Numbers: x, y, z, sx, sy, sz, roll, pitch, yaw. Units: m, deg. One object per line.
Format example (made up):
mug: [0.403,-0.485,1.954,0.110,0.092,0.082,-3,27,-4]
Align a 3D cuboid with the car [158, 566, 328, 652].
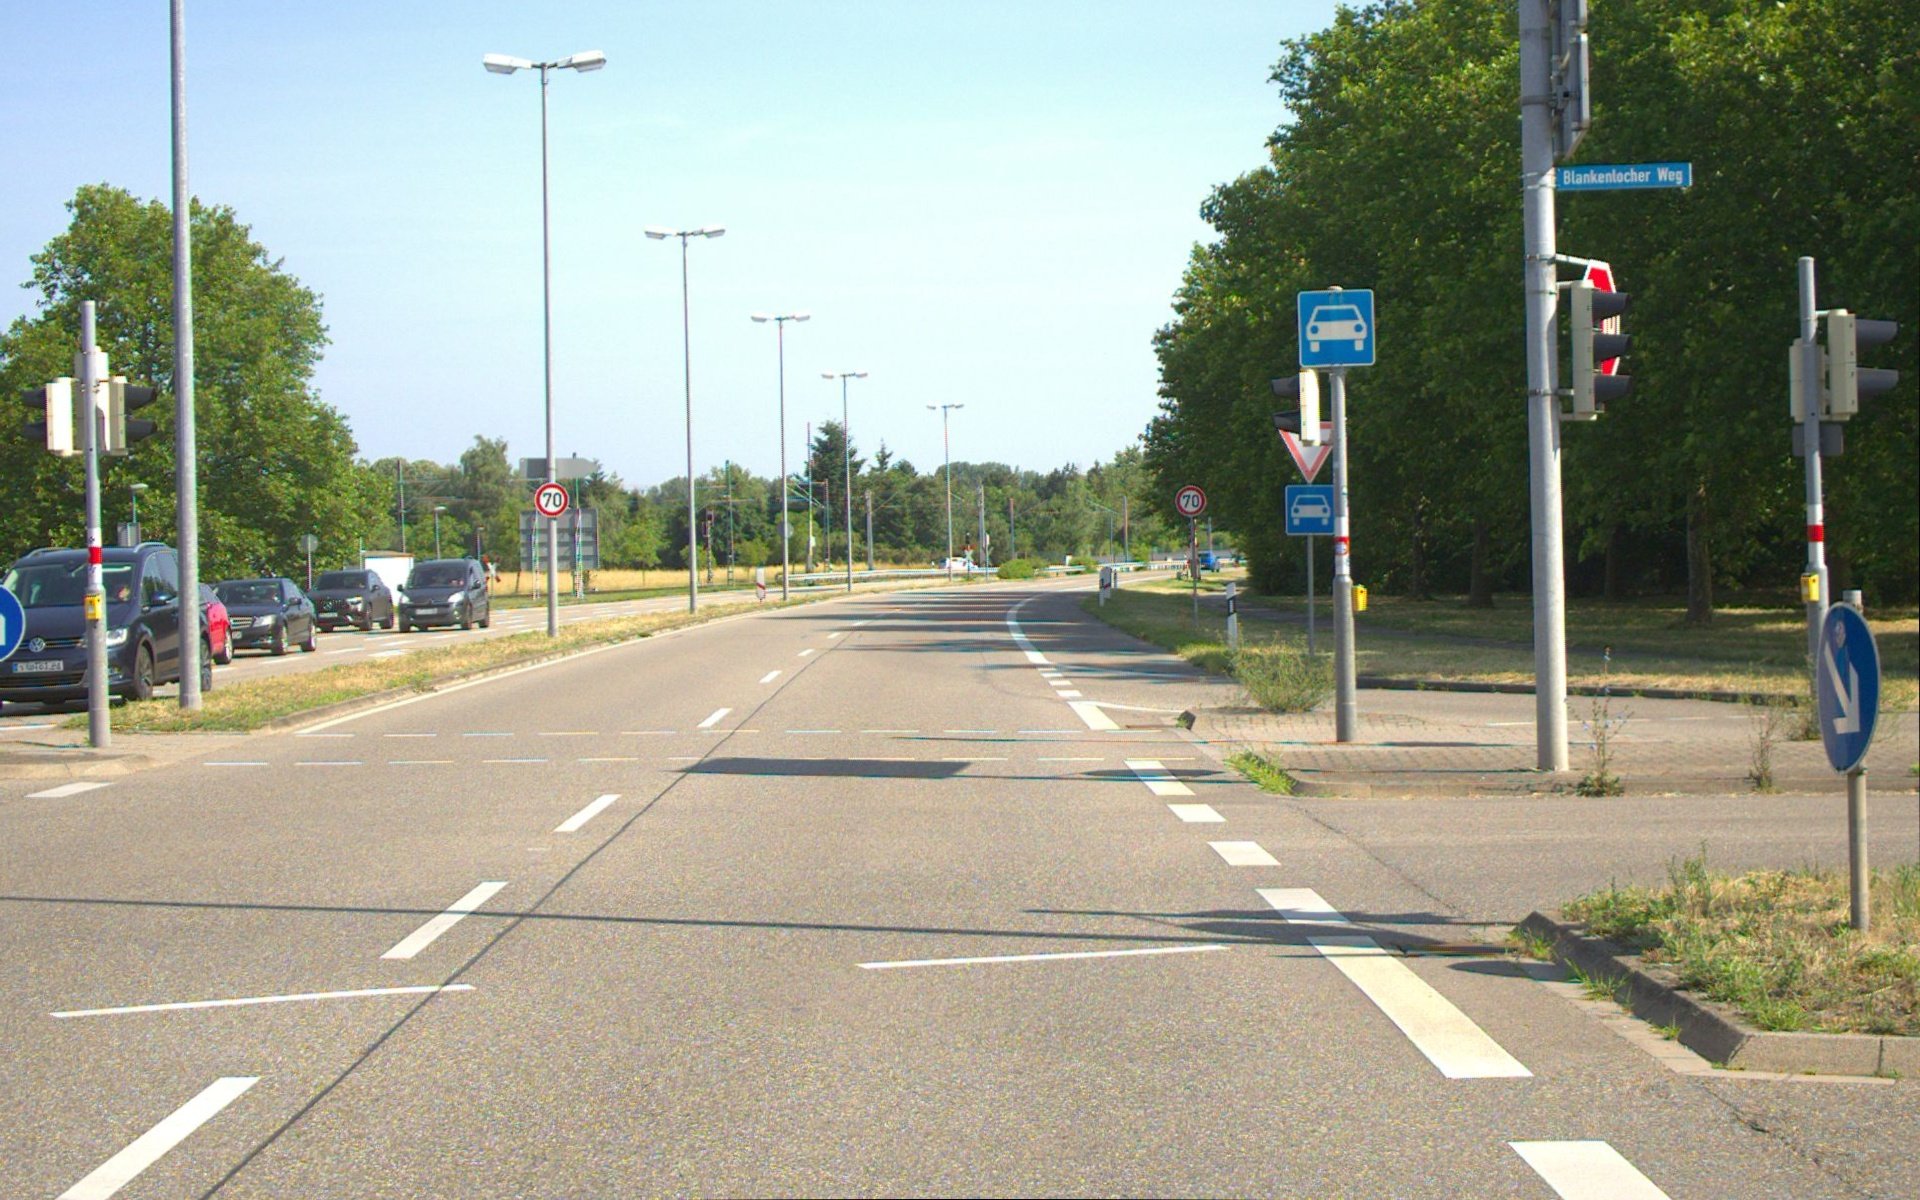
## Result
car: [-12.964,0.133,62.384,1.981,1.452,4.450,-1,1,2]

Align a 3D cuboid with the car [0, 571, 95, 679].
car: [-13.272,0.331,46.872,1.829,1.381,3.843,-1,1,2]

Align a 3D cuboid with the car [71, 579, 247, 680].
car: [-12.761,0.444,55.007,1.815,1.479,4.000,-1,1,1]

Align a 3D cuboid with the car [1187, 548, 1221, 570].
car: [17.201,-2.929,242.679,1.982,1.452,4.116,-2,1,9]

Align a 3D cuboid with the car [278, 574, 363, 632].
car: [-17.014,0.072,91.603,1.981,1.452,4.230,-1,1,-8]

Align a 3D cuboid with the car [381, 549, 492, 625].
car: [-12.986,-0.344,85.548,1.981,1.773,4.490,-1,1,1]

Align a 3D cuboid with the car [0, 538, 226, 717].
car: [-9.317,0.252,36.328,1.981,1.744,4.508,-1,1,2]
